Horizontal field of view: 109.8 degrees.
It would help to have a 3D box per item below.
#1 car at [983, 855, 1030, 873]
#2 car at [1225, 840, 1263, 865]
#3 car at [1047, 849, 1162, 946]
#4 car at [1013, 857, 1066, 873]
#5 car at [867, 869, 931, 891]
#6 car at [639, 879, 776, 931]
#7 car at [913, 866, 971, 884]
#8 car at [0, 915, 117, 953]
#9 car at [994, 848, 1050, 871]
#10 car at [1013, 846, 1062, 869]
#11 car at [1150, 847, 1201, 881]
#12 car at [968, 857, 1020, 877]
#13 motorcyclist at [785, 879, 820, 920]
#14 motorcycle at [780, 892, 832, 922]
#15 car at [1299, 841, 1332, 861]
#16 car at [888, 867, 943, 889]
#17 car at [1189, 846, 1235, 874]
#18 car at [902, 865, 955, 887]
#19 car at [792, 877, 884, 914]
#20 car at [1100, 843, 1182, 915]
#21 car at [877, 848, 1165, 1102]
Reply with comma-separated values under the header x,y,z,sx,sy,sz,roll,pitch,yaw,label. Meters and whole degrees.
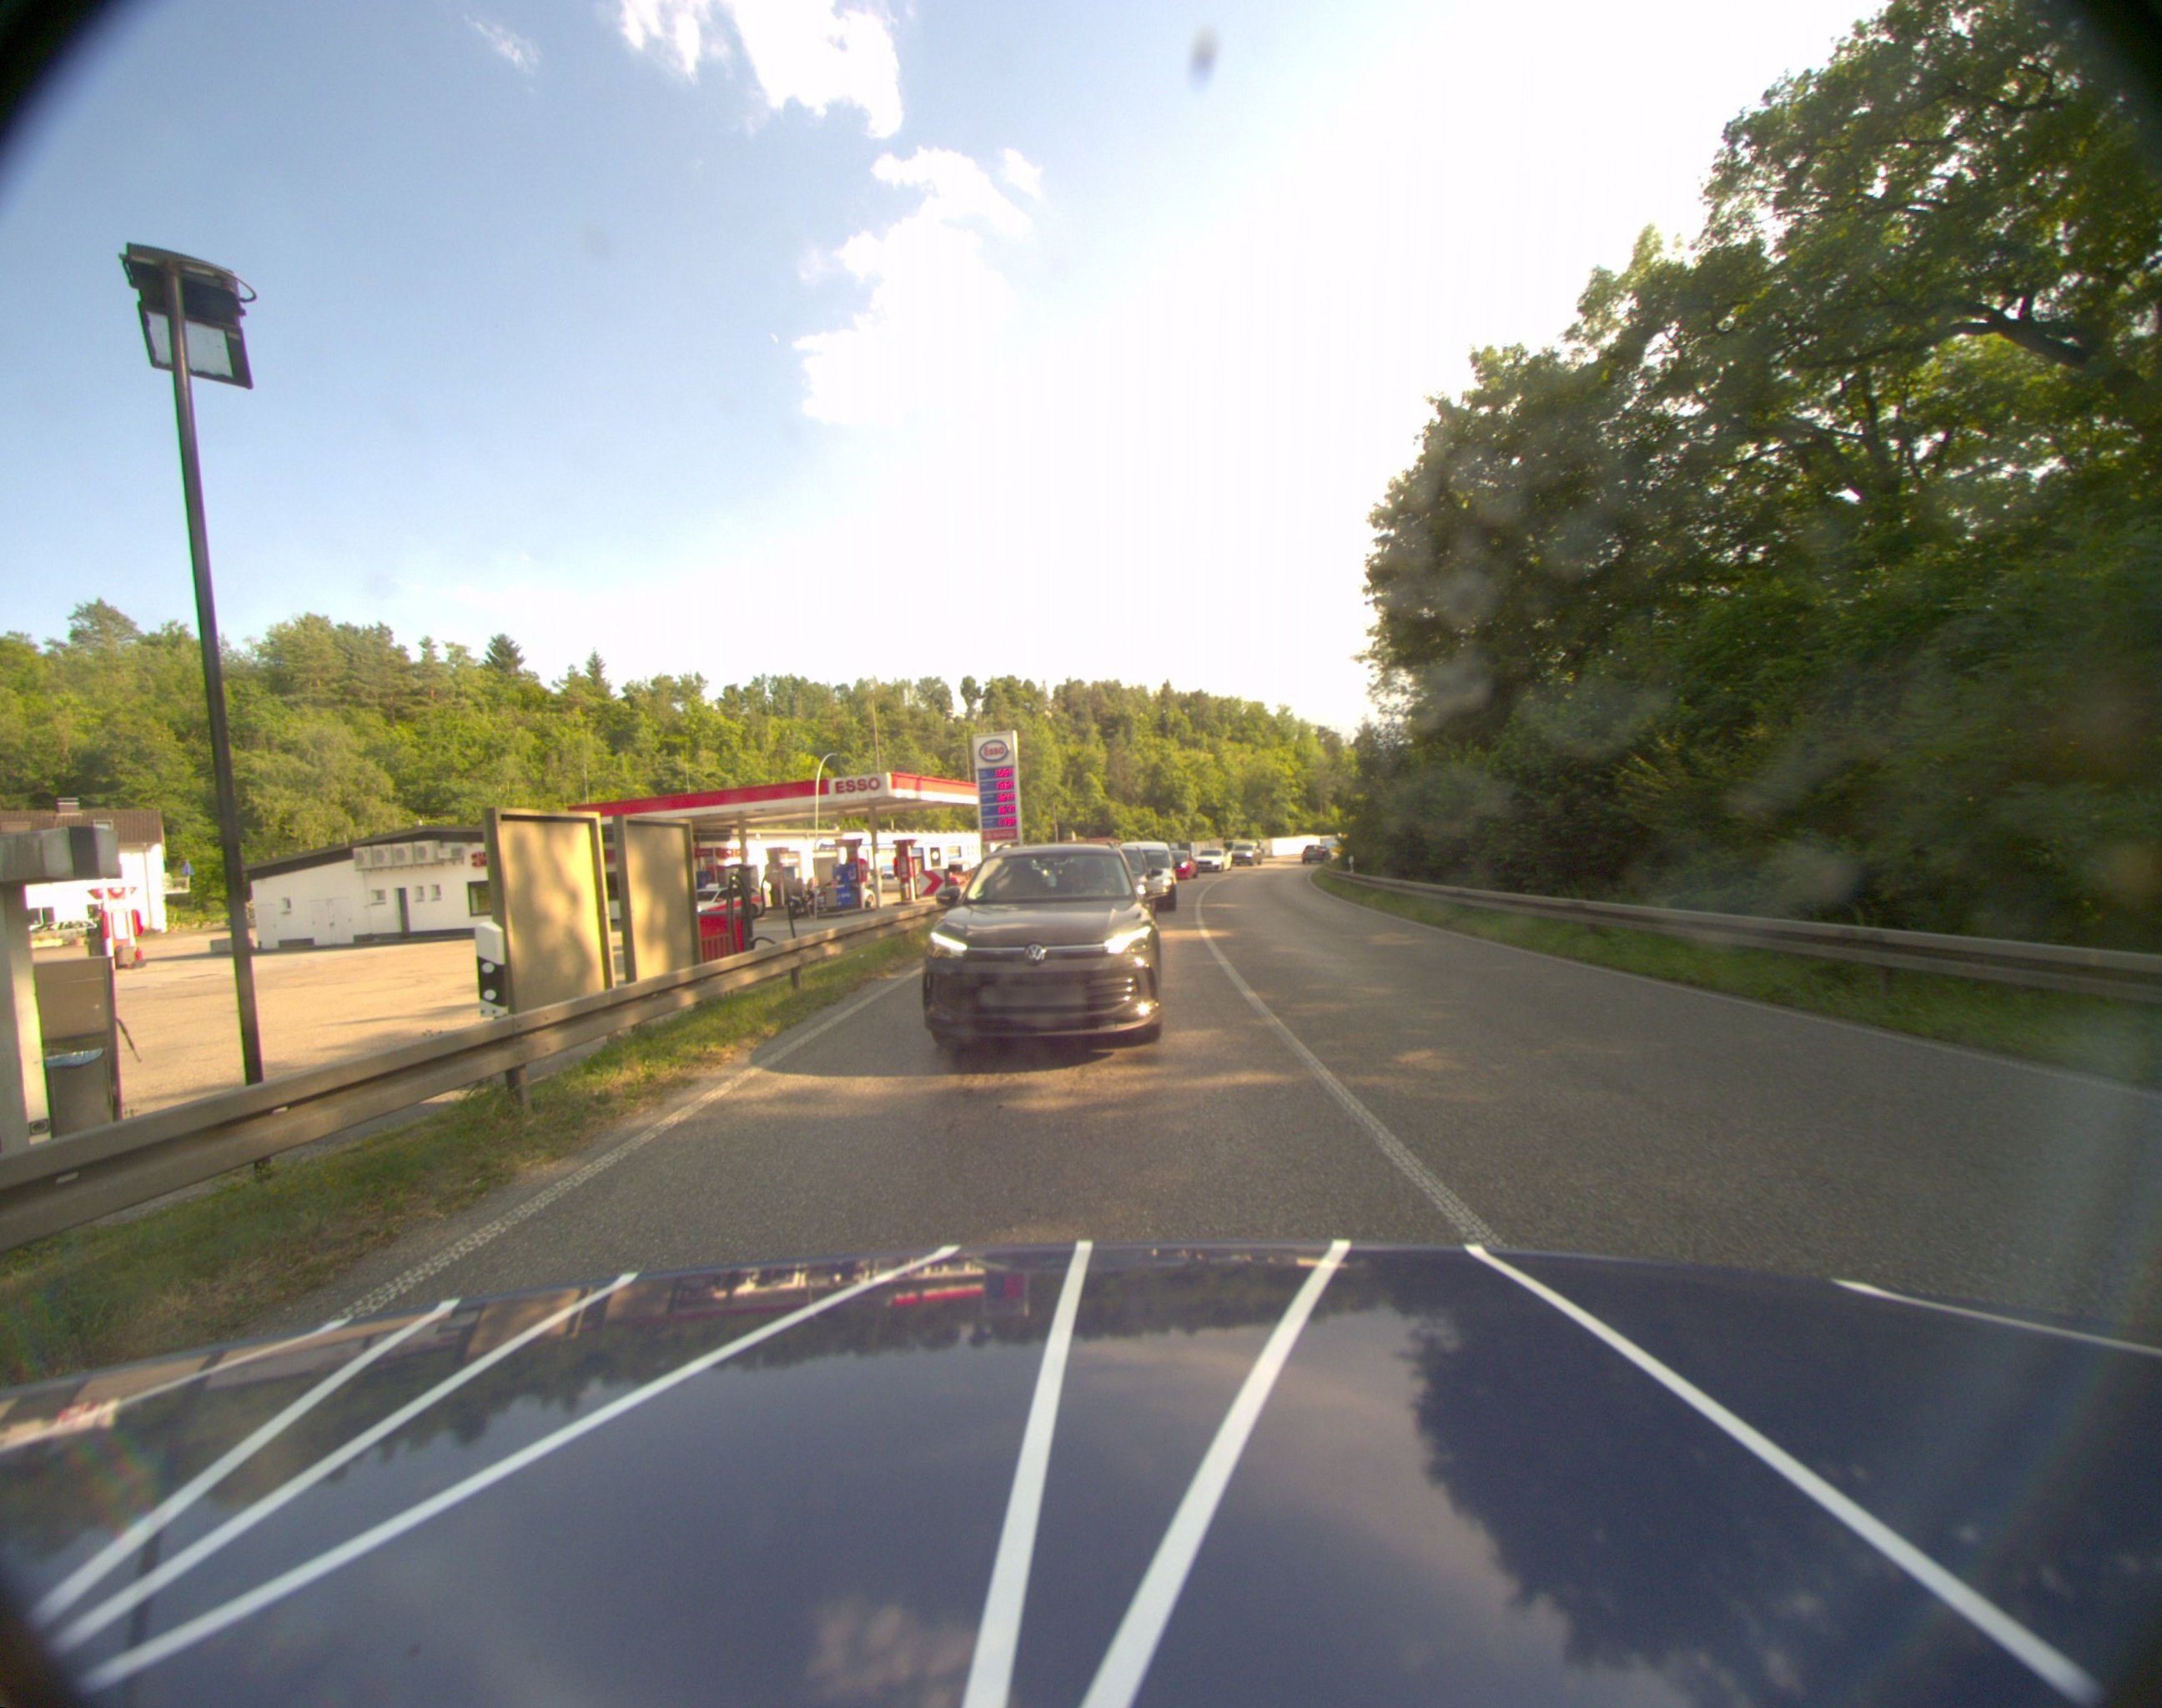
x,y,z,sx,sy,sz,roll,pitch,yaw,label
-7.489,0.986,76.487,4.246,1.601,1.896,-2,1,15,car
12.470,-0.141,57.824,1.857,1.587,4.543,-4,1,24,car
0.610,0.727,14.919,1.847,1.561,4.259,-2,1,7,car
-3.971,1.070,73.525,4.727,1.426,1.959,-1,1,13,car
-12.901,1.835,53.852,3.963,1.347,1.778,-2,1,11,car
-15.076,2.010,31.097,2.095,1.618,5.185,-3,0,14,car
-11.046,1.657,60.528,4.072,1.340,1.896,-1,1,15,car
-65.098,5.051,47.873,2.694,1.826,5.175,-4,0,41,car
-6.292,0.556,81.081,5.481,2.261,2.297,-1,1,15,car
-4.825,0.384,84.640,4.915,2.435,2.209,-1,1,13,car
4.766,0.480,37.919,1.857,1.412,4.423,-4,1,15,car
-7.753,1.169,67.785,4.254,1.719,1.893,-1,1,12,car
-11.348,1.844,30.970,0.859,1.595,0.928,-3,1,14,motorcyclist
-11.262,2.143,31.206,0.763,1.006,2.343,-3,1,14,motorcycle
19.262,-0.235,62.351,1.869,1.555,4.007,-2,-1,28,car
-12.263,1.784,56.341,3.555,1.398,1.692,-3,1,15,car
8.279,0.320,47.672,1.913,1.457,4.543,-4,1,22,car
-11.707,1.658,58.497,3.549,1.437,1.735,-3,1,15,car
-10.984,1.859,34.746,1.845,1.311,4.394,-3,0,15,car
1.757,0.598,20.730,1.866,1.710,4.766,-1,0,8,car
-0.235,0.798,7.251,1.859,1.630,4.442,-2,0,4,car
